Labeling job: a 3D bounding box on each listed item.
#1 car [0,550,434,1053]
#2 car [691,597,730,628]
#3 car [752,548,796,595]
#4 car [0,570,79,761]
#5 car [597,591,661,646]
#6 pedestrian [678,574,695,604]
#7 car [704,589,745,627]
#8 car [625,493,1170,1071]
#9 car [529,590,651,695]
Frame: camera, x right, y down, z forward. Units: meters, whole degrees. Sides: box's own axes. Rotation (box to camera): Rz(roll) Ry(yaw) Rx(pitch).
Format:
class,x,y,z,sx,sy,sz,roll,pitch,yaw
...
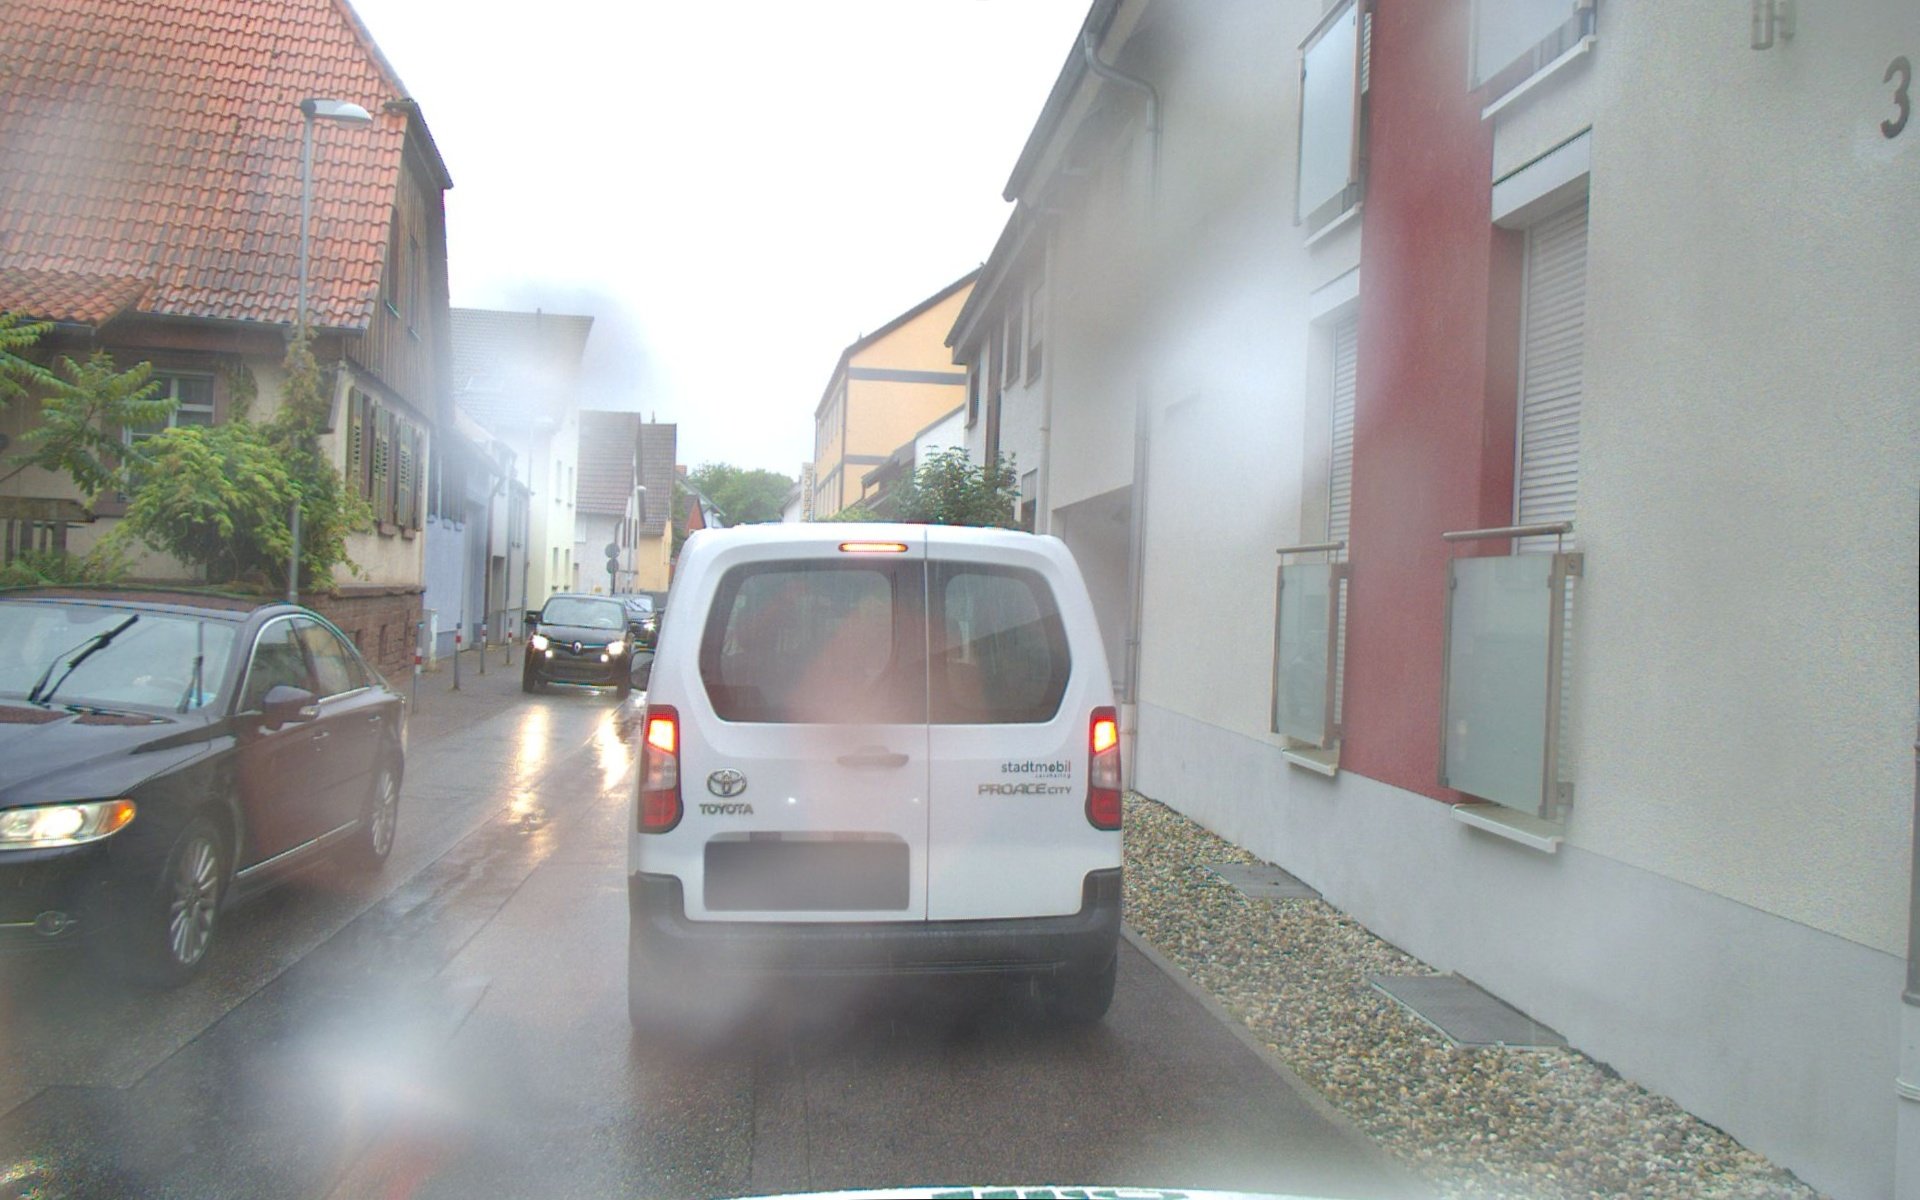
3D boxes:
class,x,y,z,sx,sy,sz,roll,pitch,yaw
car,-3.720,0.597,7.305,1.663,1.535,4.336,5,0,-5
car,-11.890,0.567,78.636,1.747,1.419,3.990,1,0,-10
car,-8.553,-1.278,76.219,1.955,2.049,3.995,1,0,-6
car,-9.394,0.305,12.939,3.908,1.450,1.735,7,-1,-1
car,-10.352,0.563,52.006,1.799,1.583,4.229,2,0,-10
pedestrian,-17.747,-0.693,107.309,1.031,1.926,0.875,1,-1,-9
car,-9.853,0.337,69.069,1.532,1.503,3.990,1,0,-10
car,-0.487,0.589,7.311,1.742,1.811,3.991,1,0,-9
car,-5.973,0.646,26.987,1.574,1.539,3.681,2,0,-8
